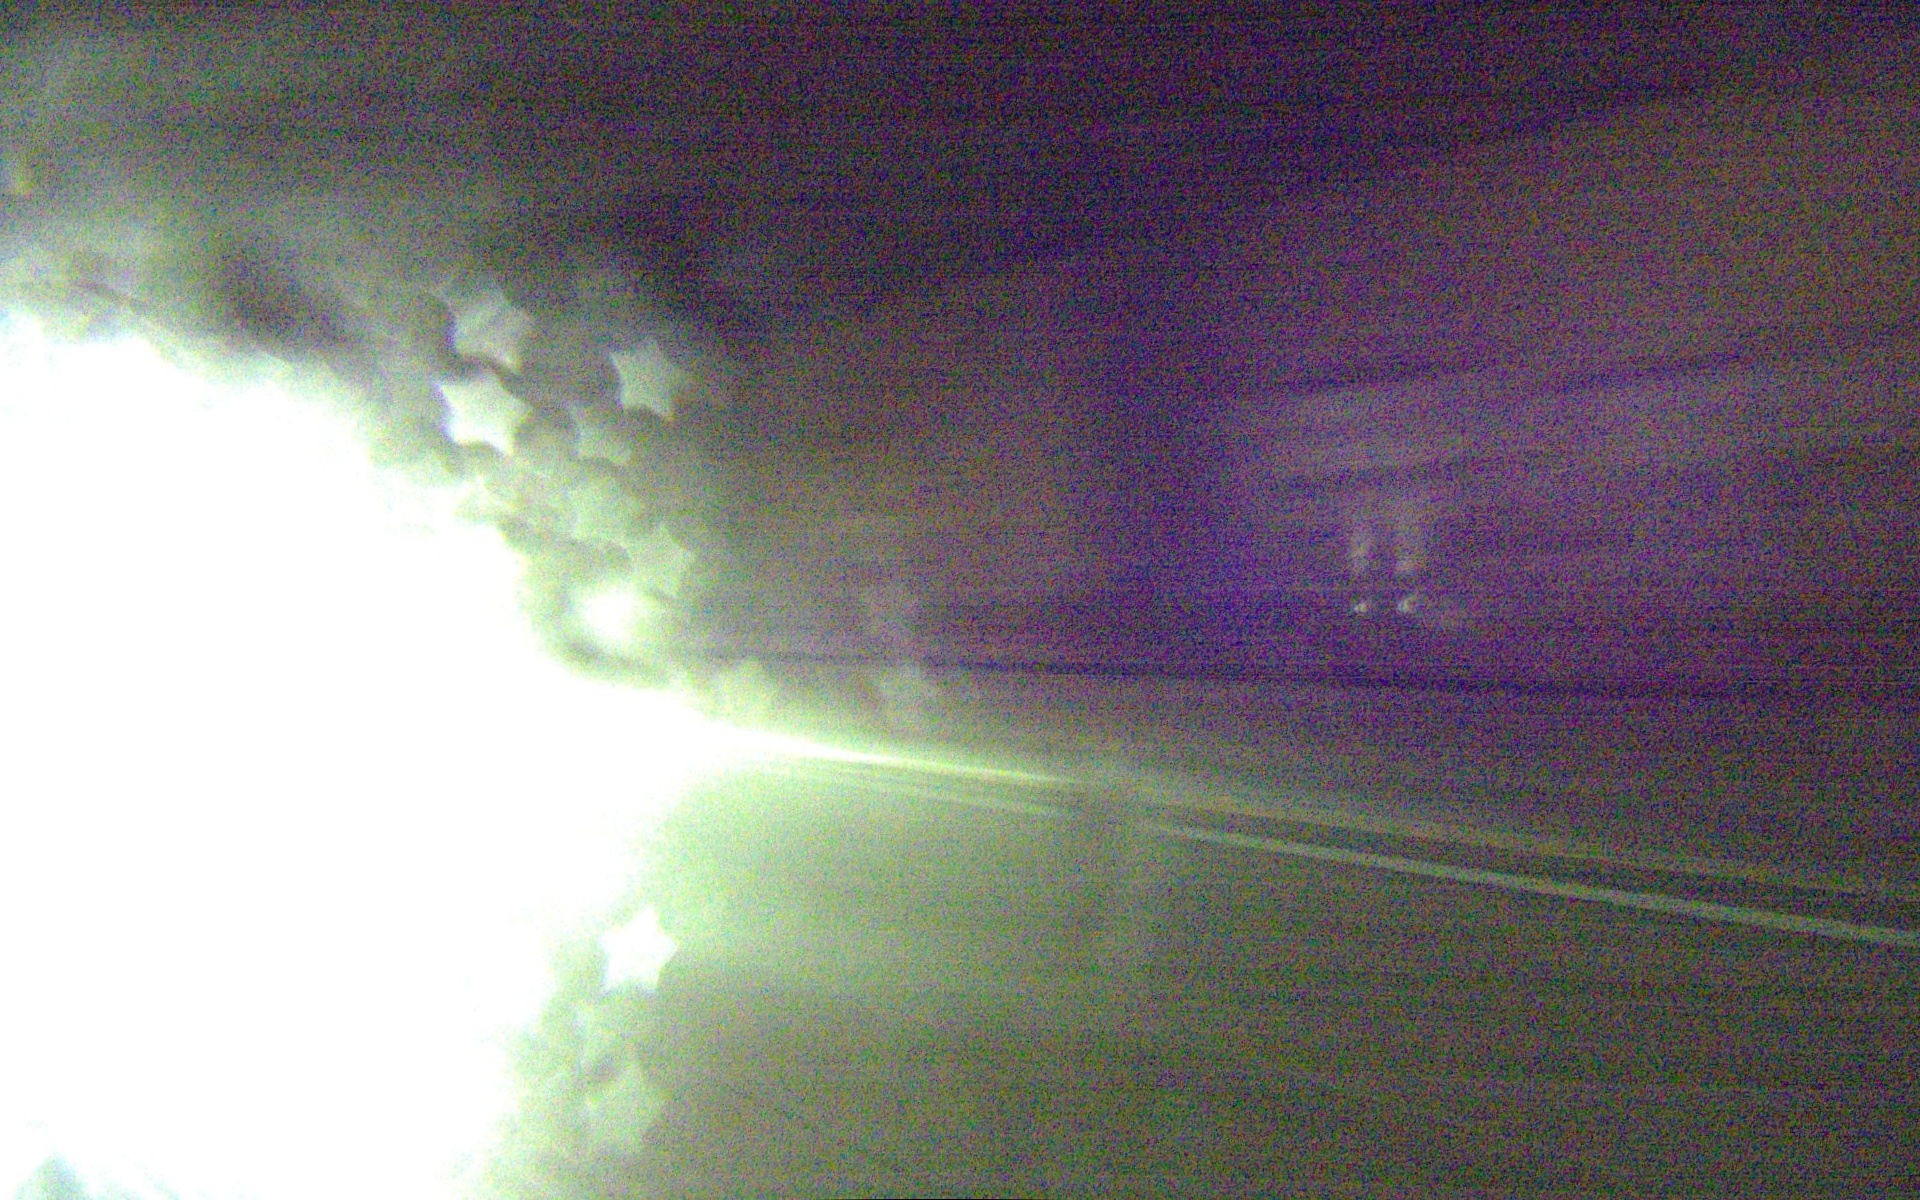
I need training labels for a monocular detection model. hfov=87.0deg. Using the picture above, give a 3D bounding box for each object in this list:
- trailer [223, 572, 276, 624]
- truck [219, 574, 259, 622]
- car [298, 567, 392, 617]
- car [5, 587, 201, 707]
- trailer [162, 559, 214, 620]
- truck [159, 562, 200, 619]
[{"bbox_3d":[-73.775,-0.214,104.937,2.740,5.013,14.123,0,0,-42],"label":"trailer"},{"bbox_3d":[-78.330,-0.203,109.961,2.741,5.013,6.724,0,0,-42],"label":"truck"},{"bbox_3d":[-28.635,-0.300,47.024,5.541,2.179,2.121,-1,-1,40],"label":"car"},{"bbox_3d":[-15.918,0.738,18.670,5.555,1.898,2.113,0,0,43],"label":"car"},{"bbox_3d":[-79.301,-1.032,103.792,2.874,5.939,14.187,0,0,-43],"label":"trailer"},{"bbox_3d":[-83.797,-1.030,108.669,2.869,5.939,6.886,0,0,-43],"label":"truck"}]
